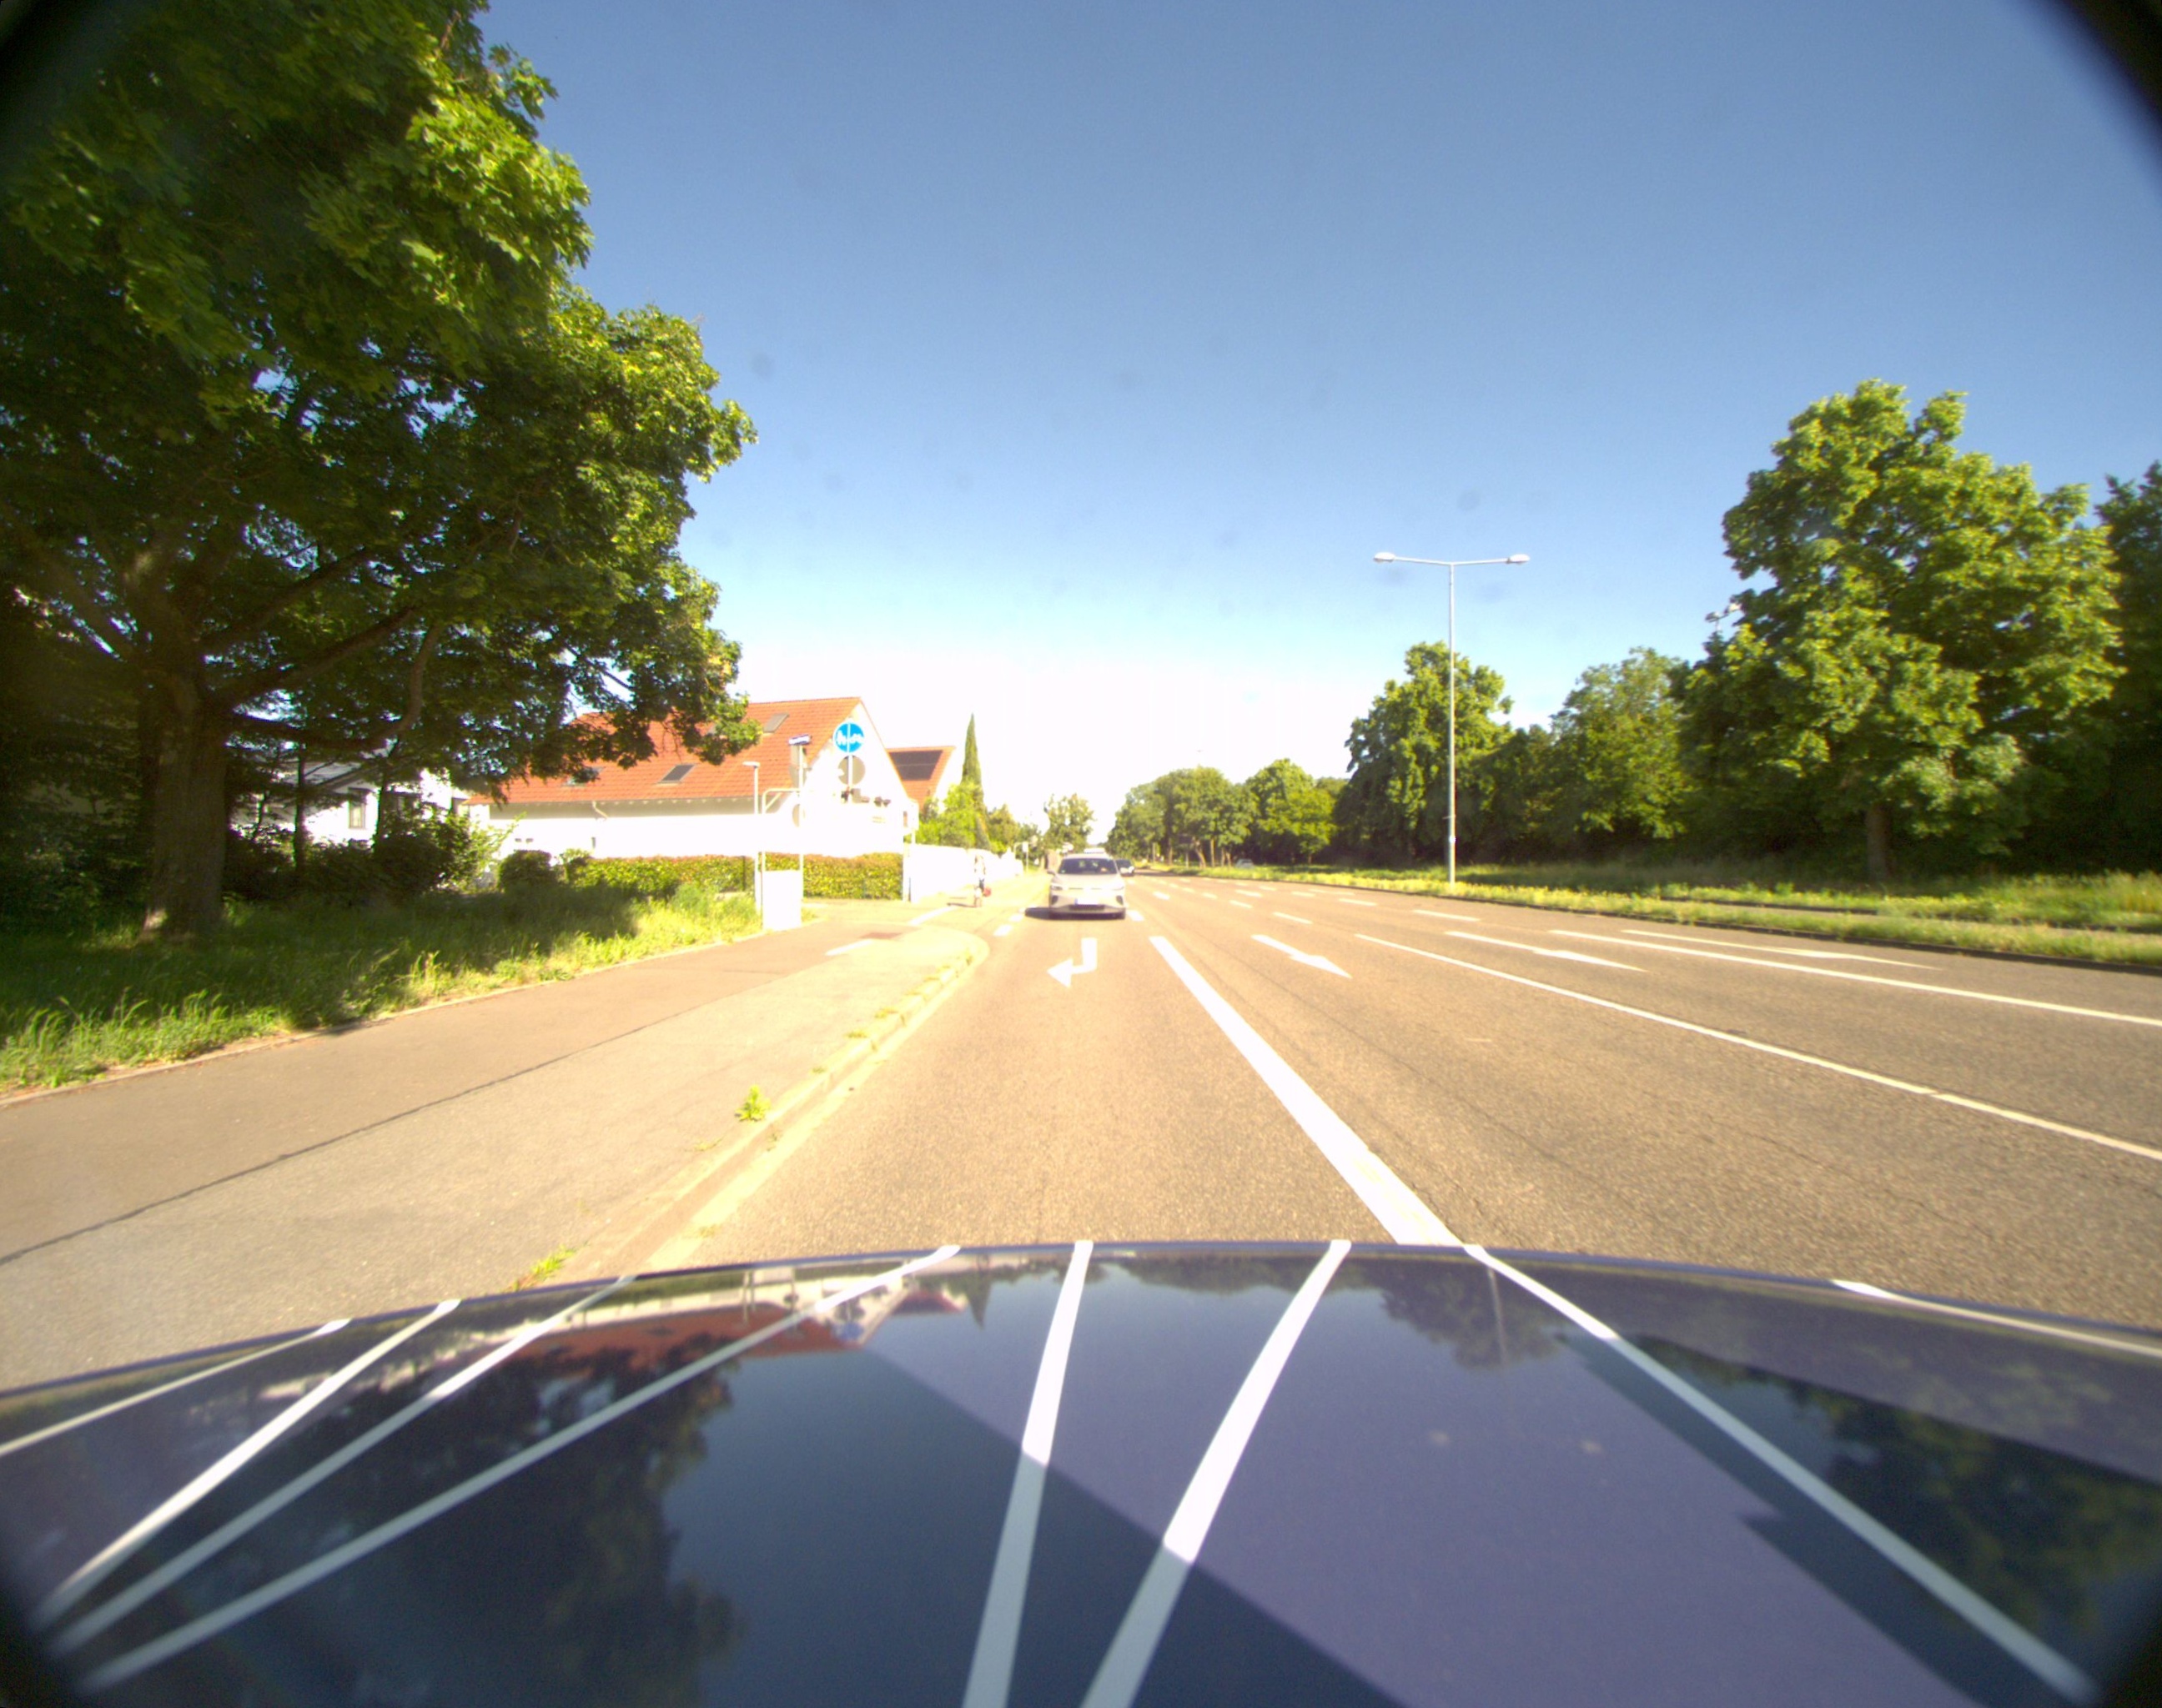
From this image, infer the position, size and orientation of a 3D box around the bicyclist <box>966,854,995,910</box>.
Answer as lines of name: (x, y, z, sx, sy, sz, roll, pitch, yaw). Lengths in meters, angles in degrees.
bicyclist: (-3.037, 0.828, 22.970, 0.631, 1.623, 0.982, 3, 0, 3)

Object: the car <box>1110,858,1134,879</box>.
car: (3.439, 1.205, 64.280, 1.766, 1.606, 4.297, -2, 0, 1)

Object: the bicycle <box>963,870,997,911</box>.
bicycle: (-3.030, 1.075, 22.898, 0.575, 1.148, 2.141, 3, 0, 3)

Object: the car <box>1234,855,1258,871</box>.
car: (19.513, 1.002, 90.081, 1.917, 1.693, 4.407, -2, 1, 1)

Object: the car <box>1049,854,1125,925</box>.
car: (0.165, 0.835, 19.806, 1.766, 1.606, 4.297, 0, 0, 0)

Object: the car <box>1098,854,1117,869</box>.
car: (3.116, 0.881, 90.829, 1.856, 1.576, 3.998, -2, 0, -3)
